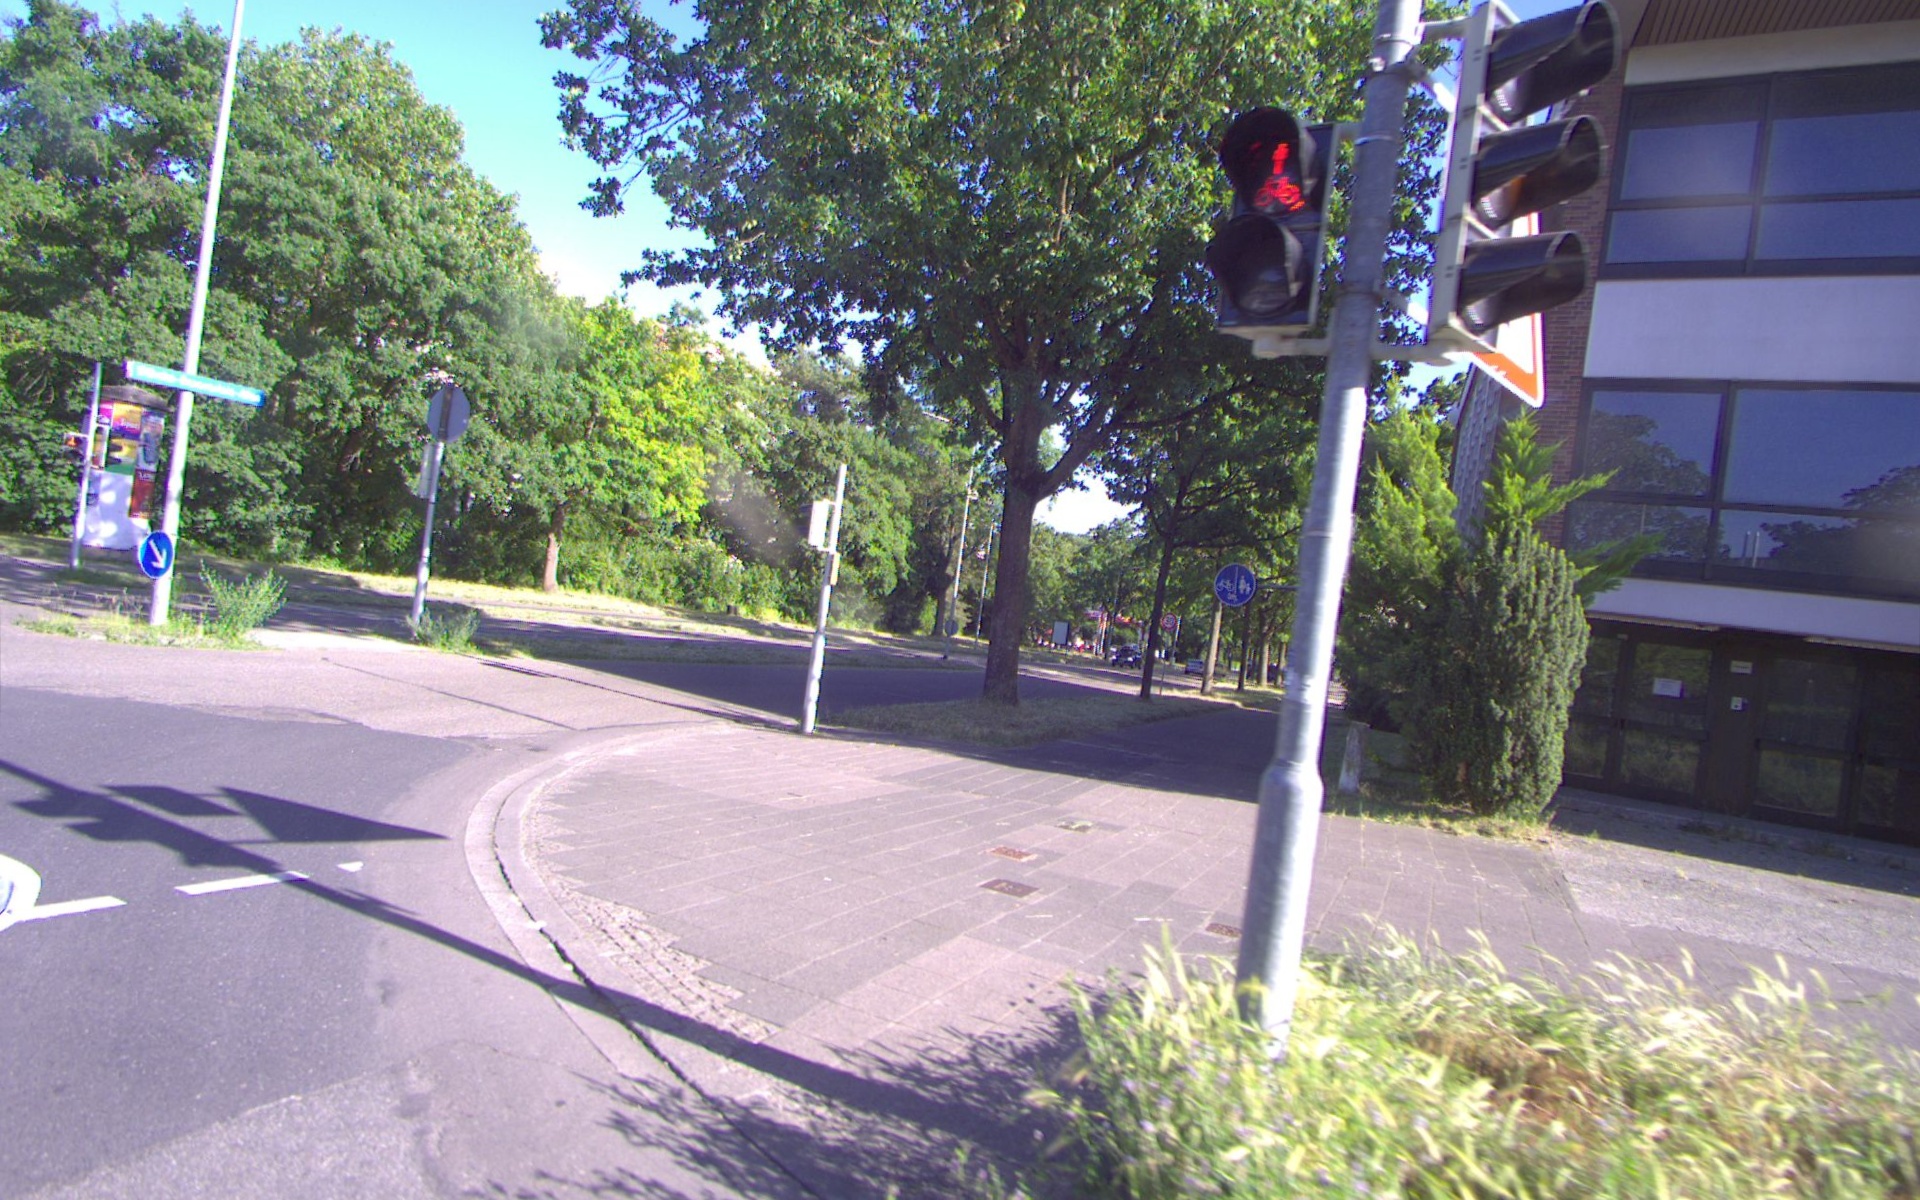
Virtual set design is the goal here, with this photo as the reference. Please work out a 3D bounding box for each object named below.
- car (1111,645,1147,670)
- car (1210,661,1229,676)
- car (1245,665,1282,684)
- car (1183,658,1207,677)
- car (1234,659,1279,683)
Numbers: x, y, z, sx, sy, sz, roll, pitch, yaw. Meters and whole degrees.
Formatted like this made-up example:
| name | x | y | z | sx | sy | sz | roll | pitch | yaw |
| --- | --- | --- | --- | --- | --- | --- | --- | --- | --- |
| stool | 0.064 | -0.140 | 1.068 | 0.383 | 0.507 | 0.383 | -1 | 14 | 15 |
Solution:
| name | x | y | z | sx | sy | sz | roll | pitch | yaw |
| --- | --- | --- | --- | --- | --- | --- | --- | --- | --- |
| car | 14.145 | 4.822 | 84.222 | 1.812 | 1.728 | 4.505 | 7 | -2 | 23 |
| car | 28.677 | 7.545 | 111.089 | 1.635 | 1.351 | 3.669 | 7 | -3 | 19 |
| car | 32.282 | 7.930 | 106.984 | 3.597 | 1.414 | 1.319 | 7 | -2 | 20 |
| car | 20.900 | 6.017 | 89.414 | 1.635 | 1.351 | 3.669 | 7 | -3 | 19 |
| car | 32.455 | 7.810 | 110.011 | 4.433 | 1.975 | 1.689 | 7 | -2 | 20 |
